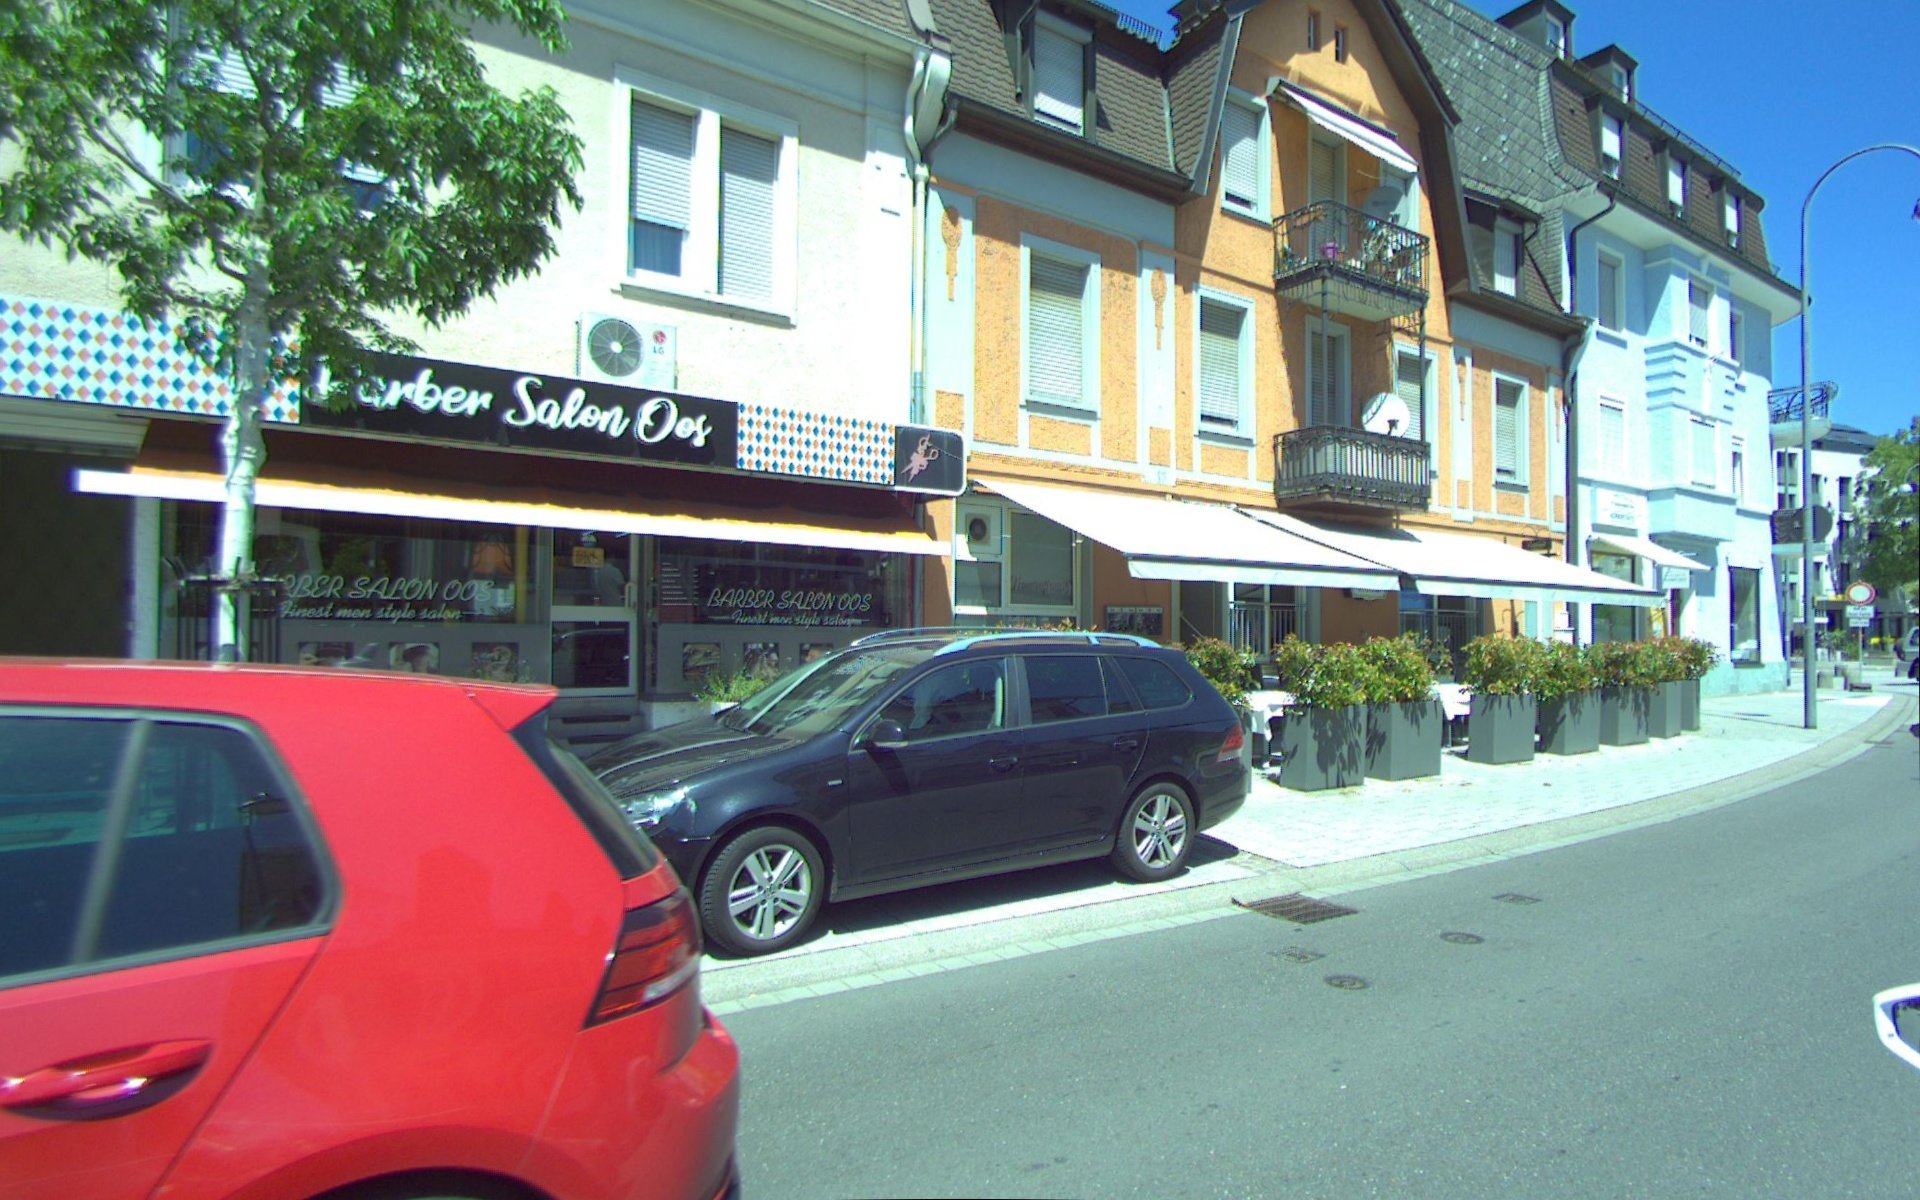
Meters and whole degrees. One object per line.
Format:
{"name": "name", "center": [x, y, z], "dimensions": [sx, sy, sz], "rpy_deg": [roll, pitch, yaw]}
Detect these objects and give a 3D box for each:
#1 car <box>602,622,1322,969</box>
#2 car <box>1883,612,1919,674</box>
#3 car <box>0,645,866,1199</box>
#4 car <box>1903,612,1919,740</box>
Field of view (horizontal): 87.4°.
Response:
{"name": "car", "center": [0.134, 0.936, 6.468], "dimensions": [4.289, 1.501, 1.904], "rpy_deg": [1, 0, -32]}
{"name": "car", "center": [30.519, 1.286, 29.839], "dimensions": [1.737, 1.900, 4.210], "rpy_deg": [0, -1, -21]}
{"name": "car", "center": [-2.322, 0.827, 1.545], "dimensions": [3.940, 1.445, 1.904], "rpy_deg": [1, -5, -35]}
{"name": "car", "center": [16.060, 1.097, 15.295], "dimensions": [4.380, 1.845, 1.977], "rpy_deg": [2, -4, -41]}
